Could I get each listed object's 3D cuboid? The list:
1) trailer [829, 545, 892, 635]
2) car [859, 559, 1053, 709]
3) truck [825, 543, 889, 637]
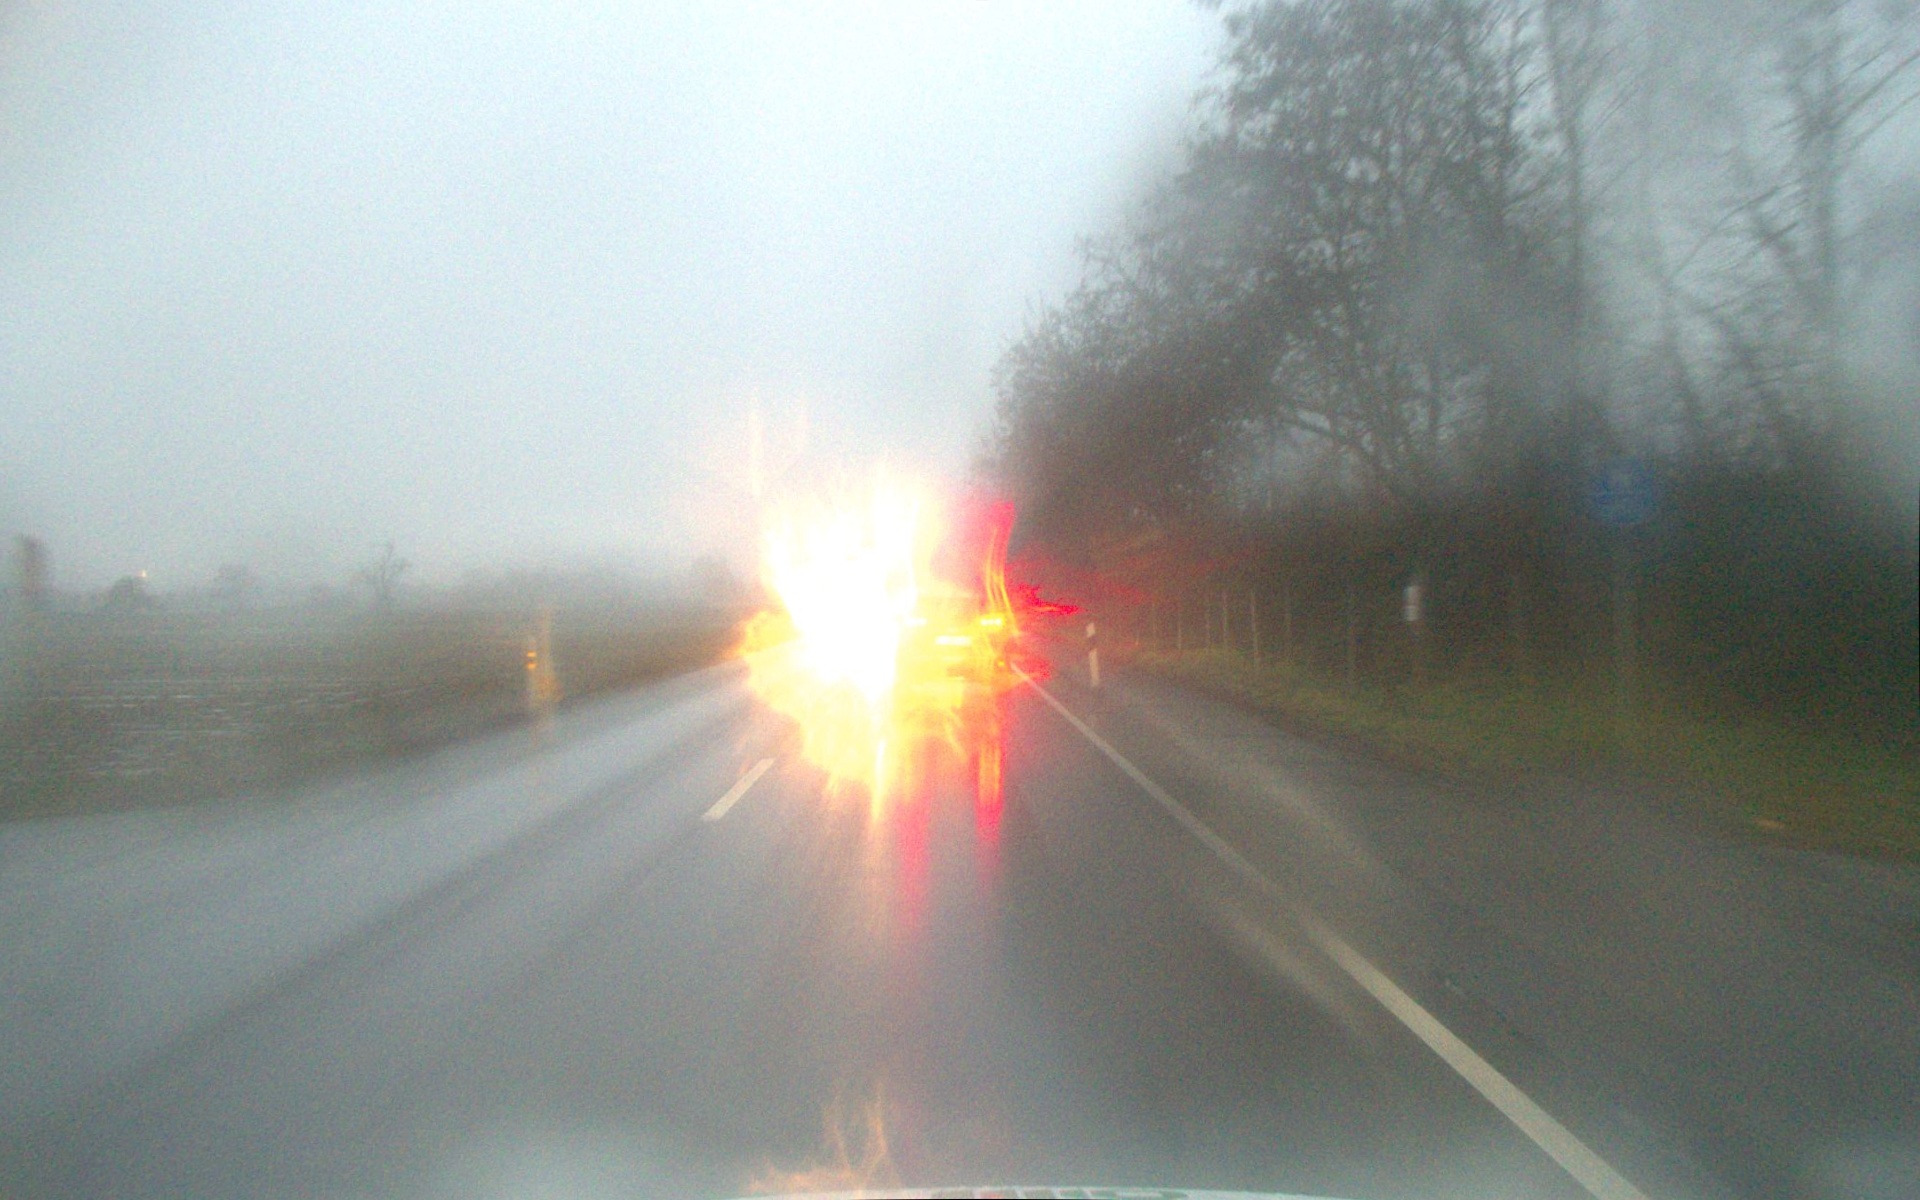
[{"bbox_3d":[-4.872,-0.481,83.229,2.647,4.151,12.377,-1,0,-1],"label":"trailer"},{"bbox_3d":[-0.074,0.494,26.567,2.763,2.113,5.803,1,0,0],"label":"car"},{"bbox_3d":[-4.745,-0.456,77.513,2.670,4.177,6.586,-1,0,-1],"label":"truck"}]
